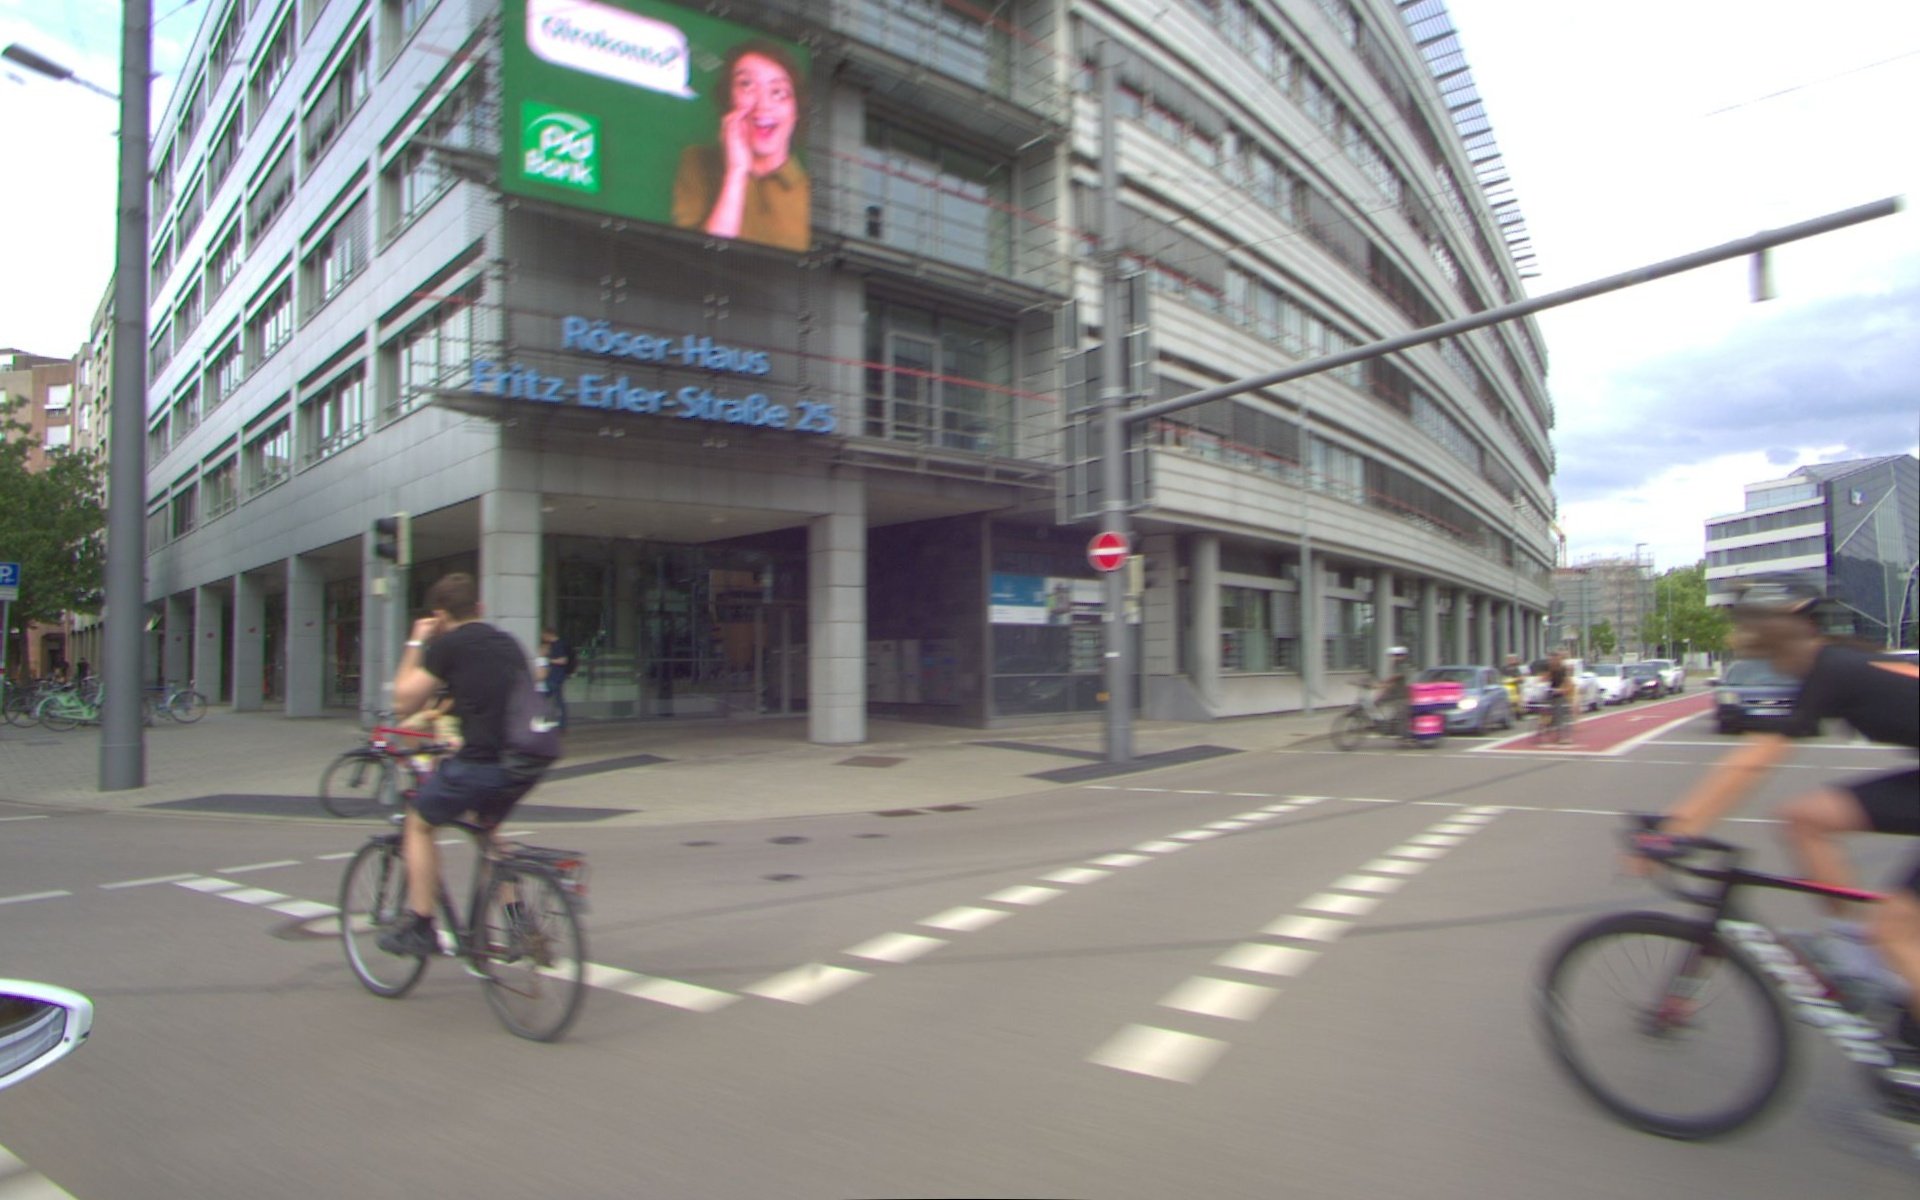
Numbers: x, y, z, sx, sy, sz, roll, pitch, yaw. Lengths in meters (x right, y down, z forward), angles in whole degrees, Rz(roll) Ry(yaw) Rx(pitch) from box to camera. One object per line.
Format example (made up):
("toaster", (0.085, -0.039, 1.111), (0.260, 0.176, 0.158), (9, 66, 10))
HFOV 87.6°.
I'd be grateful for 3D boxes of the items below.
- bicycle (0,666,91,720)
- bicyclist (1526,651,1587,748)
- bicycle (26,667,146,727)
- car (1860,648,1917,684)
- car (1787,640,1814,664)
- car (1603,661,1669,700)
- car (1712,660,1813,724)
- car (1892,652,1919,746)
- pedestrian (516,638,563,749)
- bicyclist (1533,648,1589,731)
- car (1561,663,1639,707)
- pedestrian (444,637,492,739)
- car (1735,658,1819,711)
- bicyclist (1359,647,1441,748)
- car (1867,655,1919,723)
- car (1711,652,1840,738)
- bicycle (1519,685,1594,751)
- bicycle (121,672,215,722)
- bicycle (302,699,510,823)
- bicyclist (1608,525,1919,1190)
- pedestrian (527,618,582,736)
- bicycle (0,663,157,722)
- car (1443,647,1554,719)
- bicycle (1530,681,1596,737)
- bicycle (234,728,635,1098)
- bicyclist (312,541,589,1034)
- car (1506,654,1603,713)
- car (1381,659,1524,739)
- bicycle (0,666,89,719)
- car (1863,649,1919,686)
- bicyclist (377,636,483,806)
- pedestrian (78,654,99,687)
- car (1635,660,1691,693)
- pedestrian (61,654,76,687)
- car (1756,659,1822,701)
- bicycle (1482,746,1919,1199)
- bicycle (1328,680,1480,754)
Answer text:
("bicycle", (-21.690, 2.157, 23.489), (0.474, 1.212, 1.901), (-2, -3, 40))
("bicyclist", (10.718, 1.778, 17.990), (0.668, 1.686, 0.973), (-5, -5, 42))
("bicycle", (-18.274, 2.010, 20.991), (0.485, 1.153, 1.849), (-1, -3, 26))
("car", (46.517, 3.313, 50.249), (1.803, 1.686, 4.378), (-5, -5, 40))
("car", (75.570, 4.676, 90.008), (1.802, 2.044, 3.970), (-2, -4, 40))
("car", (27.873, 3.305, 41.240), (1.770, 1.478, 3.970), (-5, -5, 40))
("car", (20.453, 2.293, 25.472), (1.803, 1.478, 3.970), (-5, -5, 40))
("car", (17.820, 1.663, 17.609), (1.803, 1.551, 4.189), (-5, -5, 40))
("pedestrian", (-6.803, 1.499, 16.215), (0.550, 1.748, 0.491), (-1, -2, 44))
("bicyclist", (12.660, 1.871, 21.088), (0.737, 1.686, 0.973), (-5, -5, 42))
("car", (23.152, 3.050, 36.174), (1.803, 1.478, 3.970), (-5, -5, 40))
("pedestrian", (-8.682, 1.538, 17.676), (0.637, 1.748, 0.542), (-1, -2, 44))
("car", (24.795, 2.543, 30.356), (1.803, 1.478, 3.970), (-5, -5, 40))
("bicyclist", (7.656, 1.687, 17.456), (1.015, 1.694, 0.661), (-1, -4, -9))
("car", (22.569, 2.038, 23.416), (1.803, 1.478, 3.970), (-5, -5, 40))
("car", (16.432, 1.833, 20.169), (1.803, 1.551, 3.970), (-3, -4, 40))
("bicycle", (10.715, 2.086, 17.955), (0.676, 1.069, 2.188), (-6, -6, 42))
("bicycle", (-17.249, 2.101, 21.842), (0.416, 0.999, 1.557), (-1, -2, 28))
("bicycle", (-6.019, 1.701, 10.948), (1.884, 1.153, 0.721), (2, -3, -40))
("bicyclist", (2.478, 0.662, 2.852), (1.020, 1.674, 0.588), (-2, -2, 33))
("pedestrian", (-7.211, 1.350, 17.821), (0.666, 2.040, 0.600), (2, -1, 39))
("bicycle", (-20.007, 2.067, 22.778), (0.646, 1.273, 2.628), (-2, -4, 32))
("car", (14.522, 2.184, 26.919), (1.803, 1.783, 3.970), (-3, -4, 40))
("bicycle", (12.733, 2.265, 21.115), (0.742, 1.069, 2.204), (-4, -5, 42))
("bicycle", (-2.310, 1.187, 4.287), (2.062, 1.153, 0.593), (-2, -3, 33))
("bicyclist", (-2.131, 0.707, 4.186), (1.020, 1.790, 0.588), (-2, -2, 33))
("car", (17.936, 2.461, 30.137), (1.803, 1.640, 4.136), (-3, -4, 40))
("car", (10.689, 2.080, 21.603), (1.803, 1.551, 3.970), (-5, -5, 40))
("bicycle", (-22.109, 2.180, 23.810), (0.474, 1.212, 2.047), (-2, -3, 40))
("car", (41.667, 3.023, 44.695), (1.803, 1.551, 3.970), (-5, -5, 40))
("bicyclist", (-5.865, 1.297, 11.088), (0.906, 1.786, 0.714), (1, -3, -40))
("pedestrian", (-42.533, 3.433, 48.890), (0.706, 1.575, 0.791), (2, -3, -44))
("car", (33.158, 3.588, 47.204), (1.770, 1.478, 3.970), (-5, -5, 40))
("pedestrian", (-43.084, 3.411, 48.391), (0.509, 1.575, 0.468), (2, -3, -44))
("car", (31.233, 2.980, 37.730), (1.770, 1.478, 3.970), (-5, -5, 40))
("bicycle", (2.476, 1.056, 2.829), (1.710, 1.153, 0.593), (-2, -3, 33))
("bicycle", (7.726, 2.019, 17.448), (2.394, 1.152, 0.661), (-1, -3, -9))
